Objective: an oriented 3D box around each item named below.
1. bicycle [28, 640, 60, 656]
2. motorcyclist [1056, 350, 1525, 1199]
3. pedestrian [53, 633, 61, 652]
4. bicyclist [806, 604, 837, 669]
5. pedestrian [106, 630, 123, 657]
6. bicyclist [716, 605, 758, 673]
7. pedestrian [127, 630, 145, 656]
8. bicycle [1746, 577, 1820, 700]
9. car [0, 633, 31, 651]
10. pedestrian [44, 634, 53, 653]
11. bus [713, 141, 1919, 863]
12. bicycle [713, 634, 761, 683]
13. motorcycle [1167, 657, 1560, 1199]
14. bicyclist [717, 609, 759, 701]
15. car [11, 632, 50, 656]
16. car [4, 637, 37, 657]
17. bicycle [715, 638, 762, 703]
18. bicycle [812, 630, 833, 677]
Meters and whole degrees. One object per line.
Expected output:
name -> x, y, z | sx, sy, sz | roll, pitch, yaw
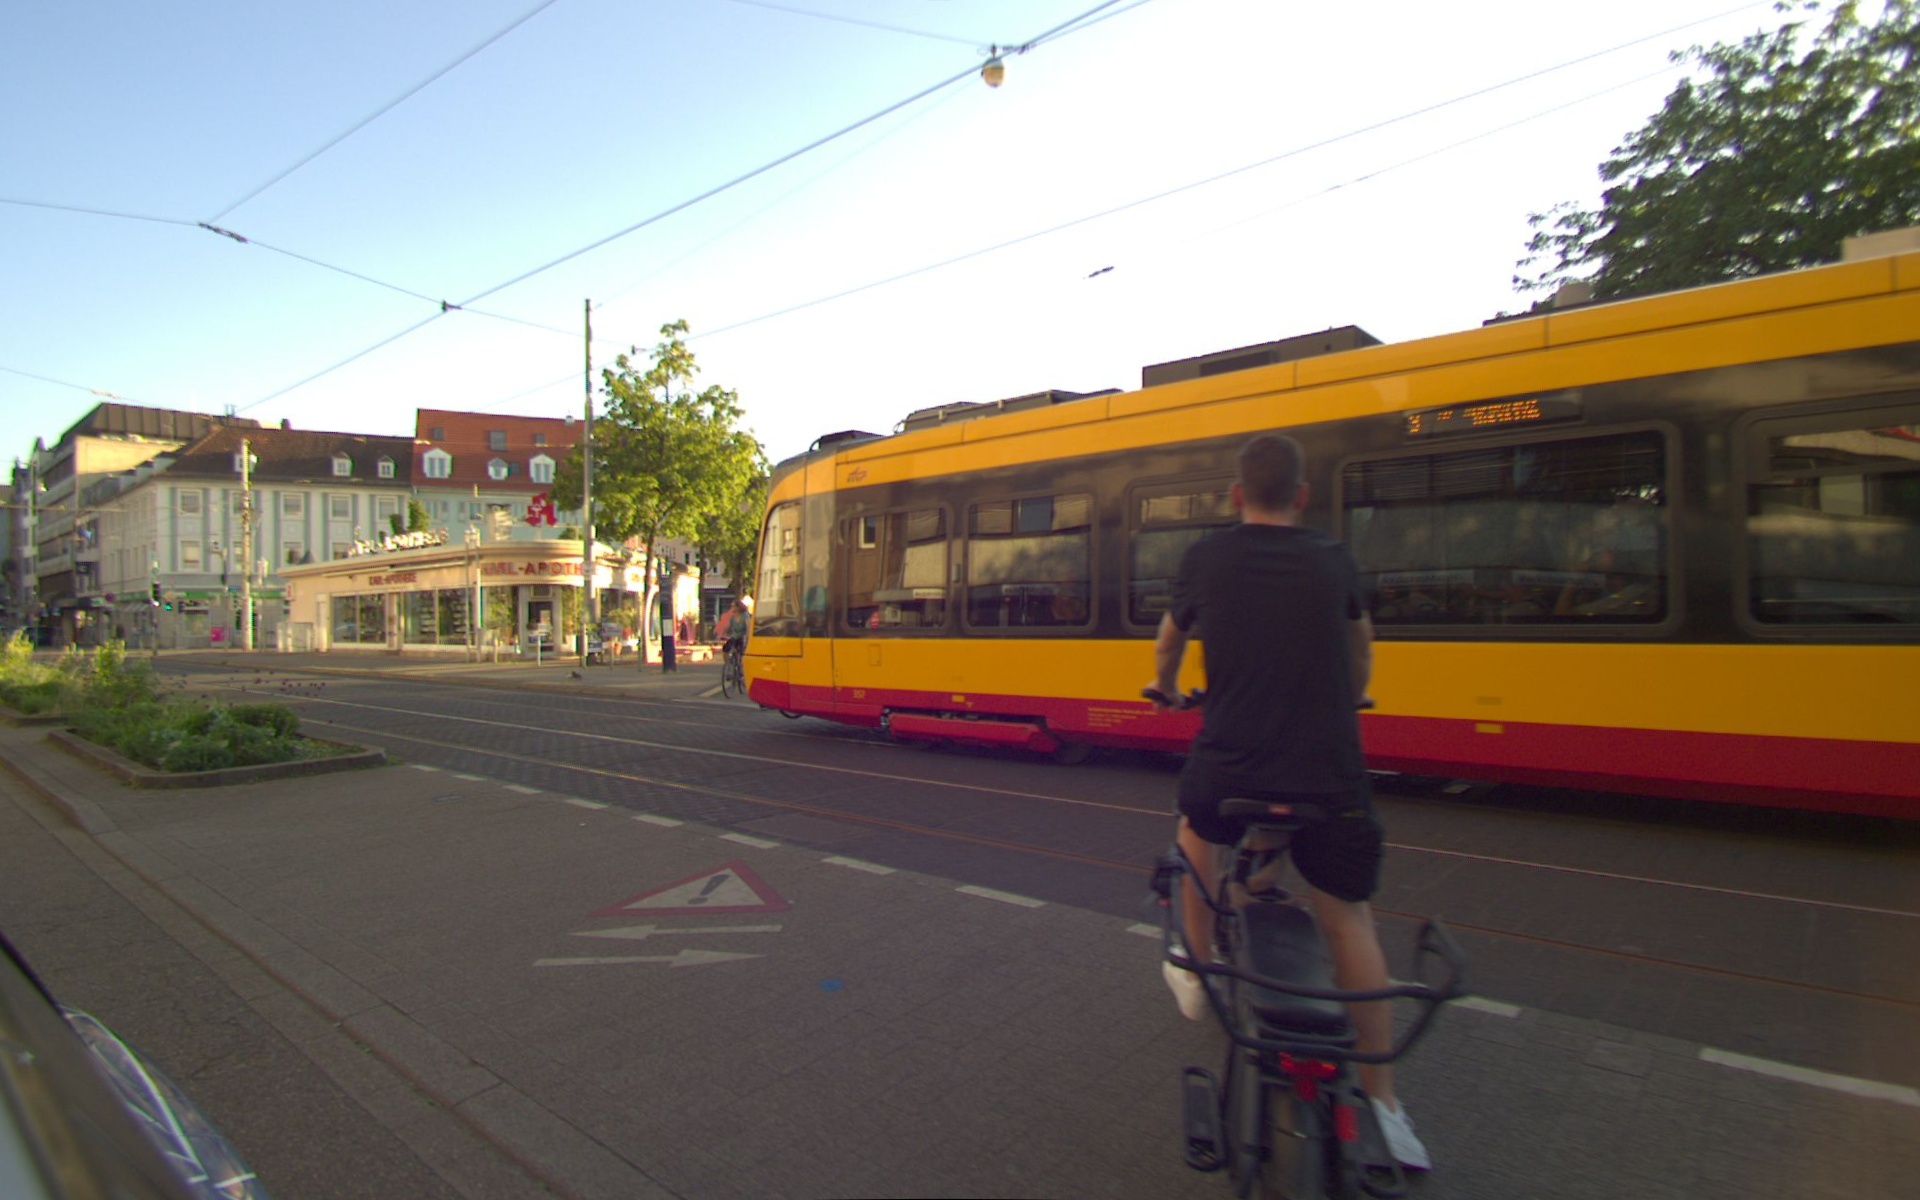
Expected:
bicycle -> -67.541, 3.540, 74.661 | 1.715, 1.067, 0.499 | 0, -3, -41
motorcyclist -> 0.805, 0.404, 2.661 | 0.950, 1.827, 1.000 | 0, 0, 15
pedestrian -> -82.400, 3.893, 92.334 | 0.600, 1.747, 0.509 | 0, 0, 41
bicyclist -> -3.414, 0.892, 24.991 | 0.742, 1.588, 0.704 | 0, 0, -7
pedestrian -> -56.970, 2.934, 68.190 | 0.815, 1.741, 0.814 | -1, -1, -42
bicyclist -> -5.410, 0.928, 24.588 | 0.731, 1.624, 0.800 | 0, -1, 11
pedestrian -> -55.726, 2.881, 68.447 | 0.814, 1.652, 0.816 | -1, 2, -33
bicycle -> 9.308, 0.400, 11.416 | 0.579, 1.264, 2.218 | 0, 0, 41
car -> -87.147, 3.849, 93.319 | 3.999, 1.569, 1.796 | 0, 0, 42
pedestrian -> -82.660, 3.923, 91.802 | 0.583, 1.697, 0.503 | 0, 0, 40
bus -> 4.306, -0.439, 7.548 | 17.066, 3.679, 2.792 | -2, -2, 42
bicycle -> -5.385, 1.399, 24.538 | 0.455, 1.120, 1.922 | 0, -2, 10
motorcycle -> 0.857, 0.768, 2.546 | 0.563, 1.132, 2.041 | 0, 0, 14
bicyclist -> -4.183, 1.023, 19.135 | 0.620, 1.681, 0.704 | 0, 0, 1
car -> -76.743, 3.633, 83.555 | 4.127, 1.809, 1.890 | -1, 0, 41
car -> -81.292, 4.044, 87.538 | 3.997, 1.636, 1.679 | -2, -1, 41
bicycle -> -4.171, 1.301, 19.151 | 0.454, 1.120, 1.936 | 0, 0, 1
bicycle -> -3.395, 1.309, 25.044 | 0.488, 1.120, 1.713 | 0, -2, -7
